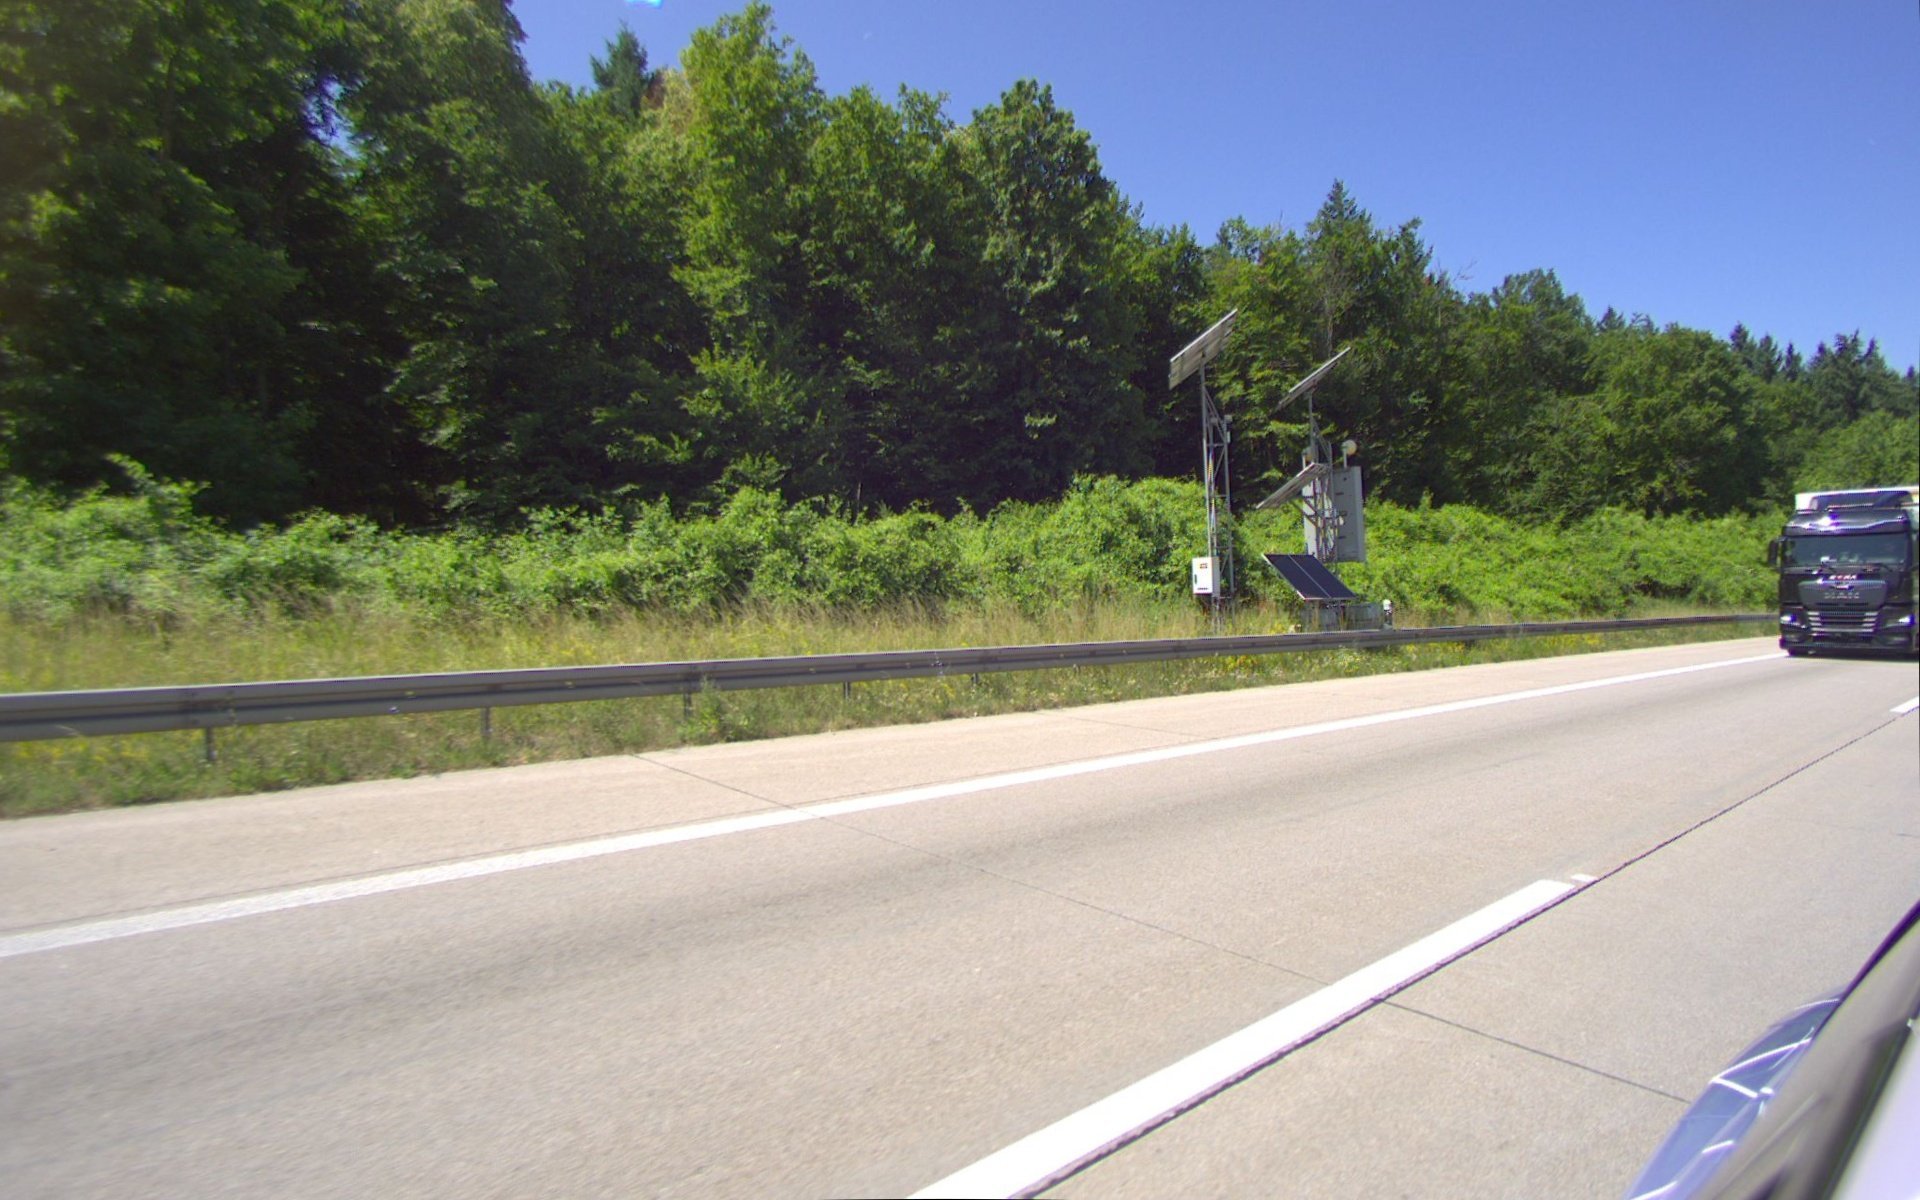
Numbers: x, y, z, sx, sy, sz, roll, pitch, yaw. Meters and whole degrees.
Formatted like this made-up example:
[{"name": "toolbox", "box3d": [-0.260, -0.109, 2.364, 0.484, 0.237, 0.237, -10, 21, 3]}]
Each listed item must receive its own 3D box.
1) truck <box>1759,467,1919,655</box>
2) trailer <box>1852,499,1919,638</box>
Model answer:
[{"name": "truck", "box3d": [24.056, -0.886, 26.180, 10.417, 4.068, 3.166, 0, 0, -39]}, {"name": "trailer", "box3d": [31.515, -0.945, 32.331, 8.925, 4.068, 3.141, 0, 0, -39]}]
